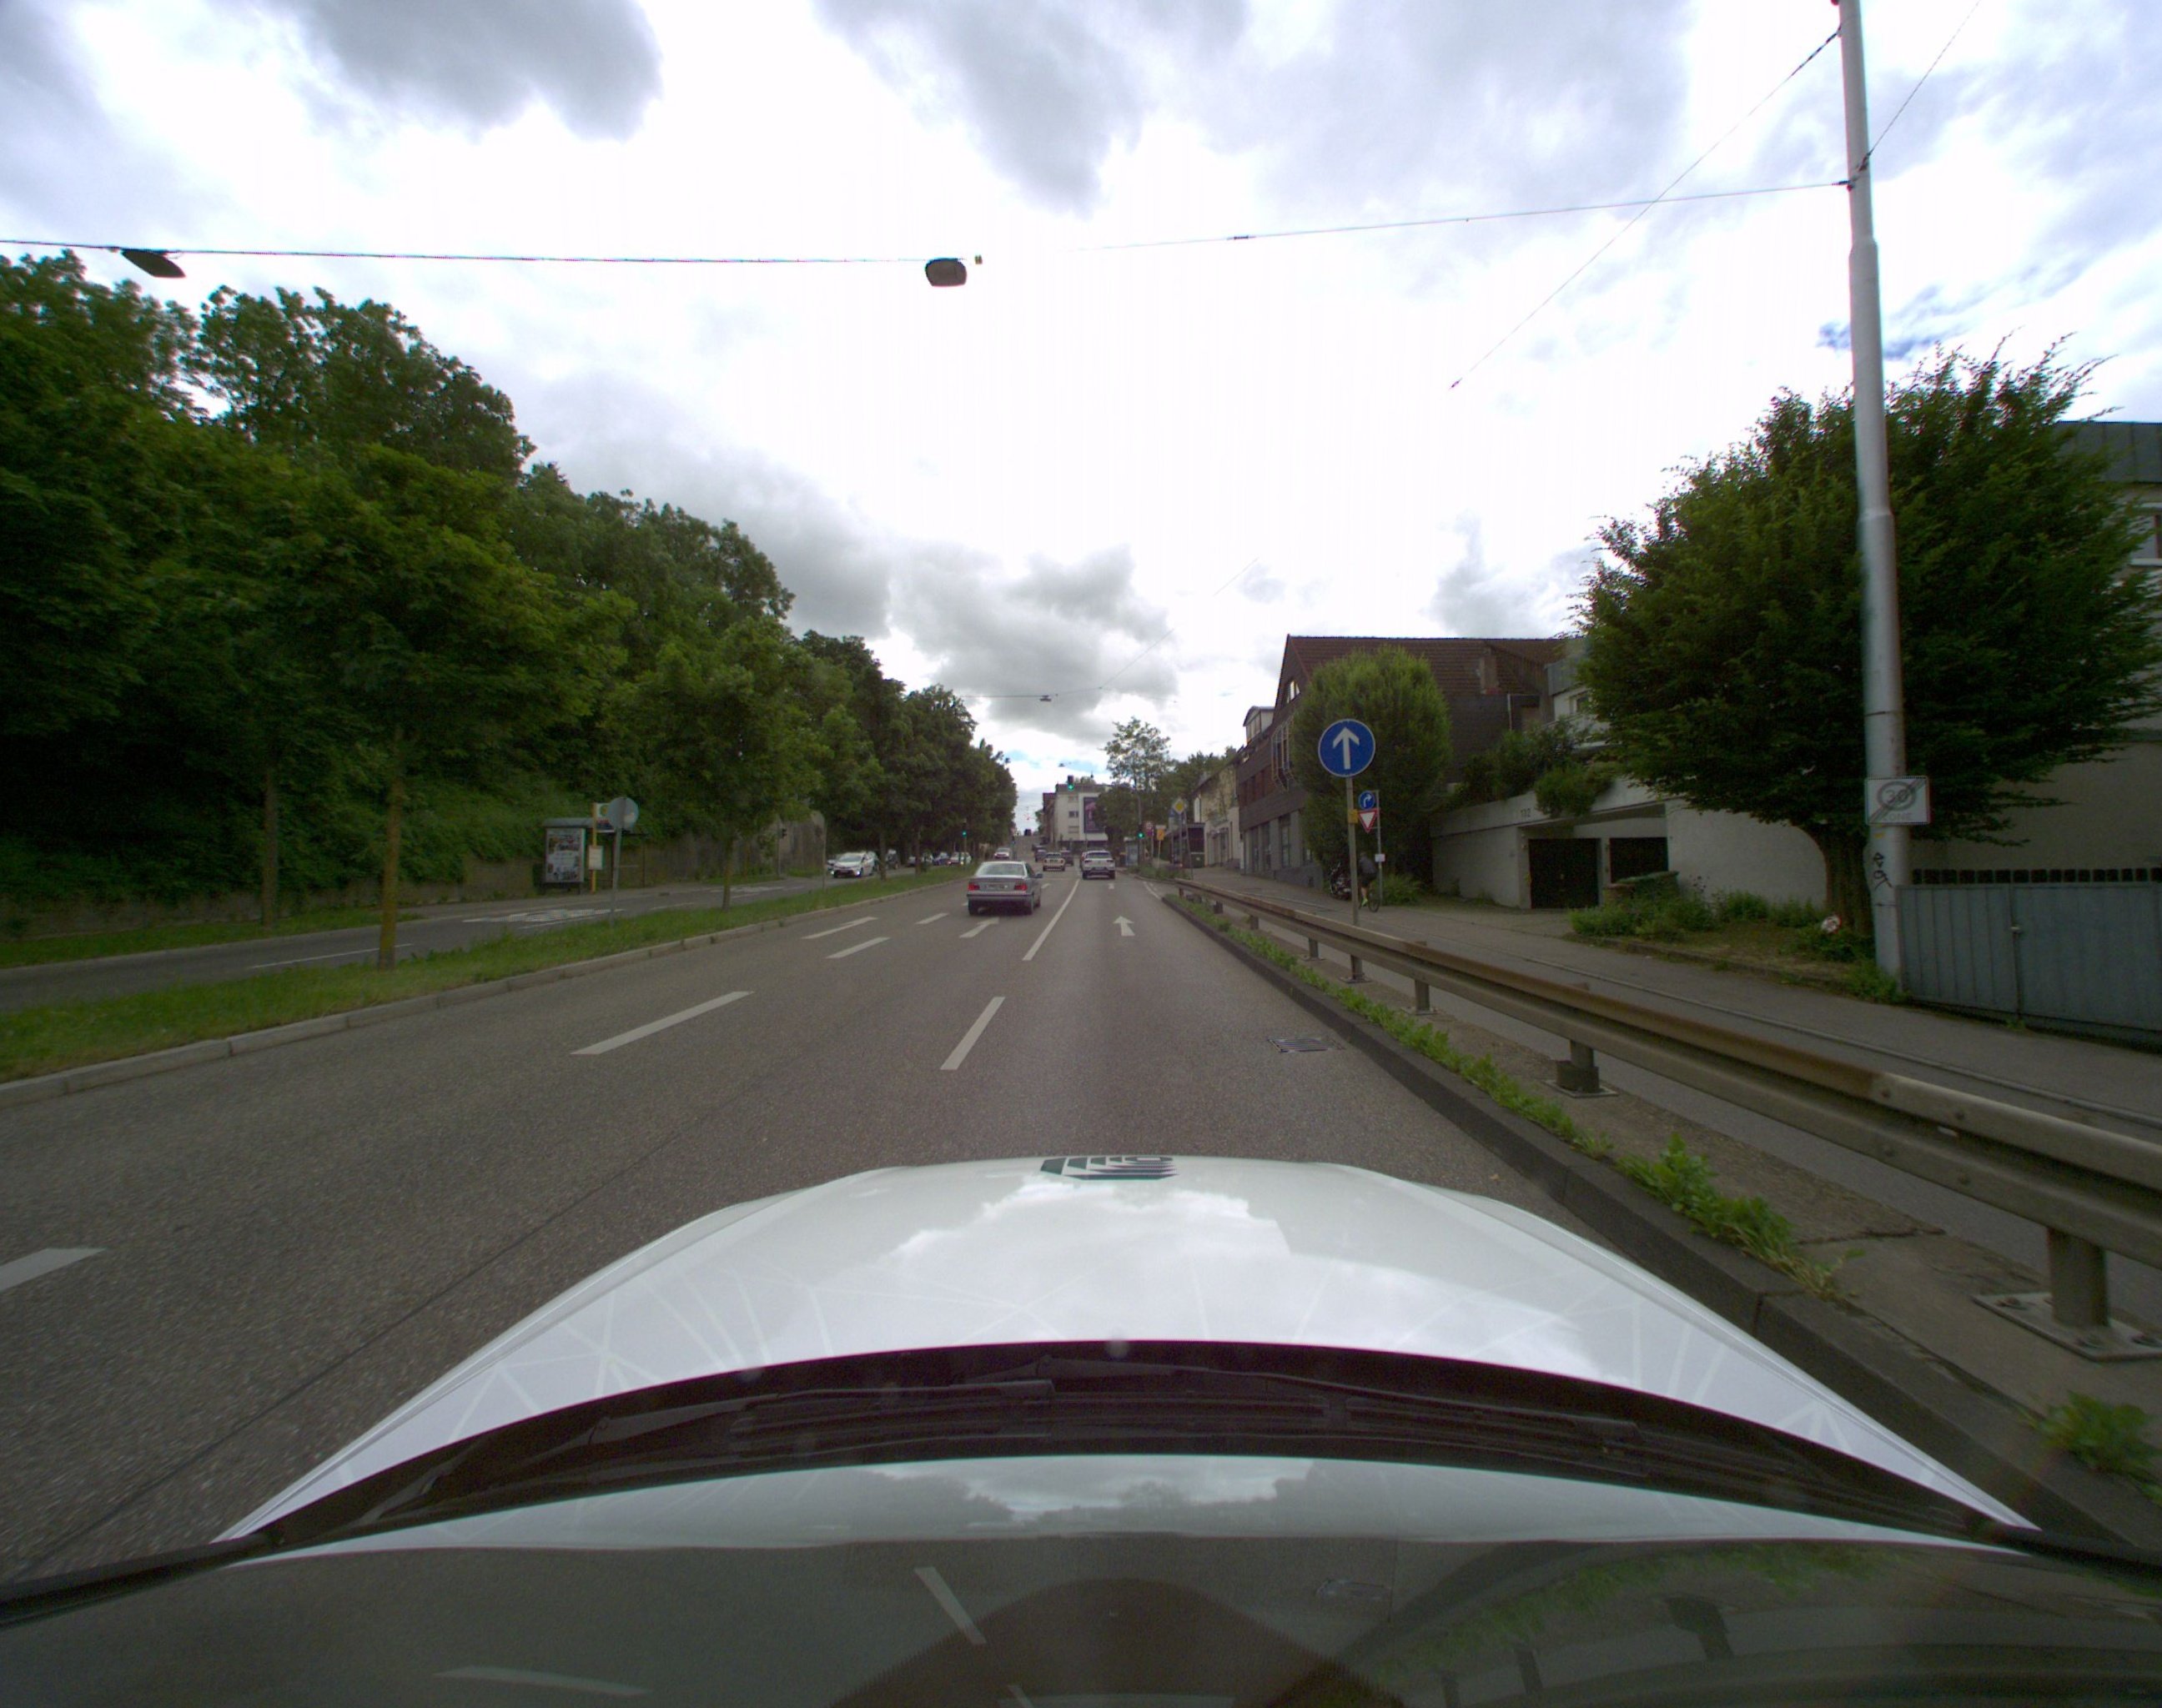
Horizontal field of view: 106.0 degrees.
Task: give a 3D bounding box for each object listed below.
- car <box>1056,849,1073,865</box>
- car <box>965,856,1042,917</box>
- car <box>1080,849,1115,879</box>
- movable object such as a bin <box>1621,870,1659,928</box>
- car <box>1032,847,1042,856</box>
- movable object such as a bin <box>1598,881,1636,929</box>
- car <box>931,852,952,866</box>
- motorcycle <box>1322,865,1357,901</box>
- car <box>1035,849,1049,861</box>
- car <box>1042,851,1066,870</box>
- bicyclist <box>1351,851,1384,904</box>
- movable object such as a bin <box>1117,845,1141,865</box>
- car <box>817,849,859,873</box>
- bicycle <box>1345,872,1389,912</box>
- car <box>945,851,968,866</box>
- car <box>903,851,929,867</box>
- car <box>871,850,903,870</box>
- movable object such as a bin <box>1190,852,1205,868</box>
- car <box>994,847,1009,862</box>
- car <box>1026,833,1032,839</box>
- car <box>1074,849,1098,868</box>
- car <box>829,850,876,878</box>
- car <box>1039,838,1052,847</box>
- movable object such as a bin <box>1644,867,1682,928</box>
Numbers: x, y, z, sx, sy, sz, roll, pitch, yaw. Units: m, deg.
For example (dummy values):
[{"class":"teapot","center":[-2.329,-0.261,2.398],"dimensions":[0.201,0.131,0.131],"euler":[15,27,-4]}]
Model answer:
[{"class":"car","center":[-1.837,0.326,88.277],"dimensions":[1.718,1.640,3.454],"euler":[-3,-1,-2]},{"class":"car","center":[-2.007,0.802,22.192],"dimensions":[1.629,1.382,4.619],"euler":[0,1,0]},{"class":"car","center":[0.864,0.561,45.569],"dimensions":[1.791,1.519,3.455],"euler":[-3,-1,0]},{"class":"movable object such as a bin","center":[12.694,1.021,18.502],"dimensions":[0.492,1.272,0.538],"euler":[1,1,1]},{"class":"car","center":[-8.206,-0.483,152.190],"dimensions":[1.718,1.583,3.454],"euler":[-3,-1,-2]},{"class":"movable object such as a bin","center":[12.180,1.154,18.513],"dimensions":[0.492,1.057,0.538],"euler":[1,1,1]},{"class":"car","center":[-16.409,0.612,96.064],"dimensions":[1.854,1.541,4.278],"euler":[1,1,-1]},{"class":"motorcycle","center":[9.213,1.030,29.100],"dimensions":[0.606,1.162,2.042],"euler":[-2,1,2]},{"class":"car","center":[-5.306,0.142,111.911],"dimensions":[1.718,1.583,3.454],"euler":[-3,-1,-2]},{"class":"car","center":[-2.088,0.495,64.066],"dimensions":[1.717,1.376,3.456],"euler":[-3,-1,0]},{"class":"bicyclist","center":[8.769,0.705,24.974],"dimensions":[0.565,1.525,0.959],"euler":[-4,0,-1]},{"class":"movable object such as a bin","center":[4.429,0.089,74.989],"dimensions":[1.890,1.870,1.524],"euler":[1,1,-8]},{"class":"car","center":[-18.045,0.483,60.710],"dimensions":[1.854,1.670,4.278],"euler":[1,1,-1]},{"class":"bicycle","center":[8.797,1.150,25.113],"dimensions":[0.565,1.063,2.004],"euler":[-4,1,-1]},{"class":"car","center":[-13.155,0.478,86.150],"dimensions":[1.854,1.541,4.278],"euler":[1,1,-1]},{"class":"car","center":[-16.826,0.496,83.202],"dimensions":[1.854,1.593,4.278],"euler":[1,1,-1]},{"class":"car","center":[-16.935,0.502,71.178],"dimensions":[1.854,1.670,4.278],"euler":[1,1,-1]},{"class":"movable object such as a bin","center":[10.246,0.538,71.813],"dimensions":[1.191,1.408,0.711],"euler":[1,0,0]},{"class":"car","center":[-10.667,0.093,109.433],"dimensions":[1.663,1.865,3.244],"euler":[-3,1,0]},{"class":"car","center":[-14.700,-5.119,229.821],"dimensions":[1.818,1.508,3.996],"euler":[1,1,-3]},{"class":"car","center":[0.389,0.349,63.413],"dimensions":[1.717,1.376,3.455],"euler":[-3,-1,0]},{"class":"car","center":[-14.687,0.635,52.562],"dimensions":[1.854,1.670,4.279],"euler":[1,1,0]},{"class":"car","center":[-7.716,-2.518,178.371],"dimensions":[2.501,2.013,5.183],"euler":[1,1,2]},{"class":"movable object such as a bin","center":[13.309,0.990,18.632],"dimensions":[0.492,1.363,0.538],"euler":[1,1,1]}]
